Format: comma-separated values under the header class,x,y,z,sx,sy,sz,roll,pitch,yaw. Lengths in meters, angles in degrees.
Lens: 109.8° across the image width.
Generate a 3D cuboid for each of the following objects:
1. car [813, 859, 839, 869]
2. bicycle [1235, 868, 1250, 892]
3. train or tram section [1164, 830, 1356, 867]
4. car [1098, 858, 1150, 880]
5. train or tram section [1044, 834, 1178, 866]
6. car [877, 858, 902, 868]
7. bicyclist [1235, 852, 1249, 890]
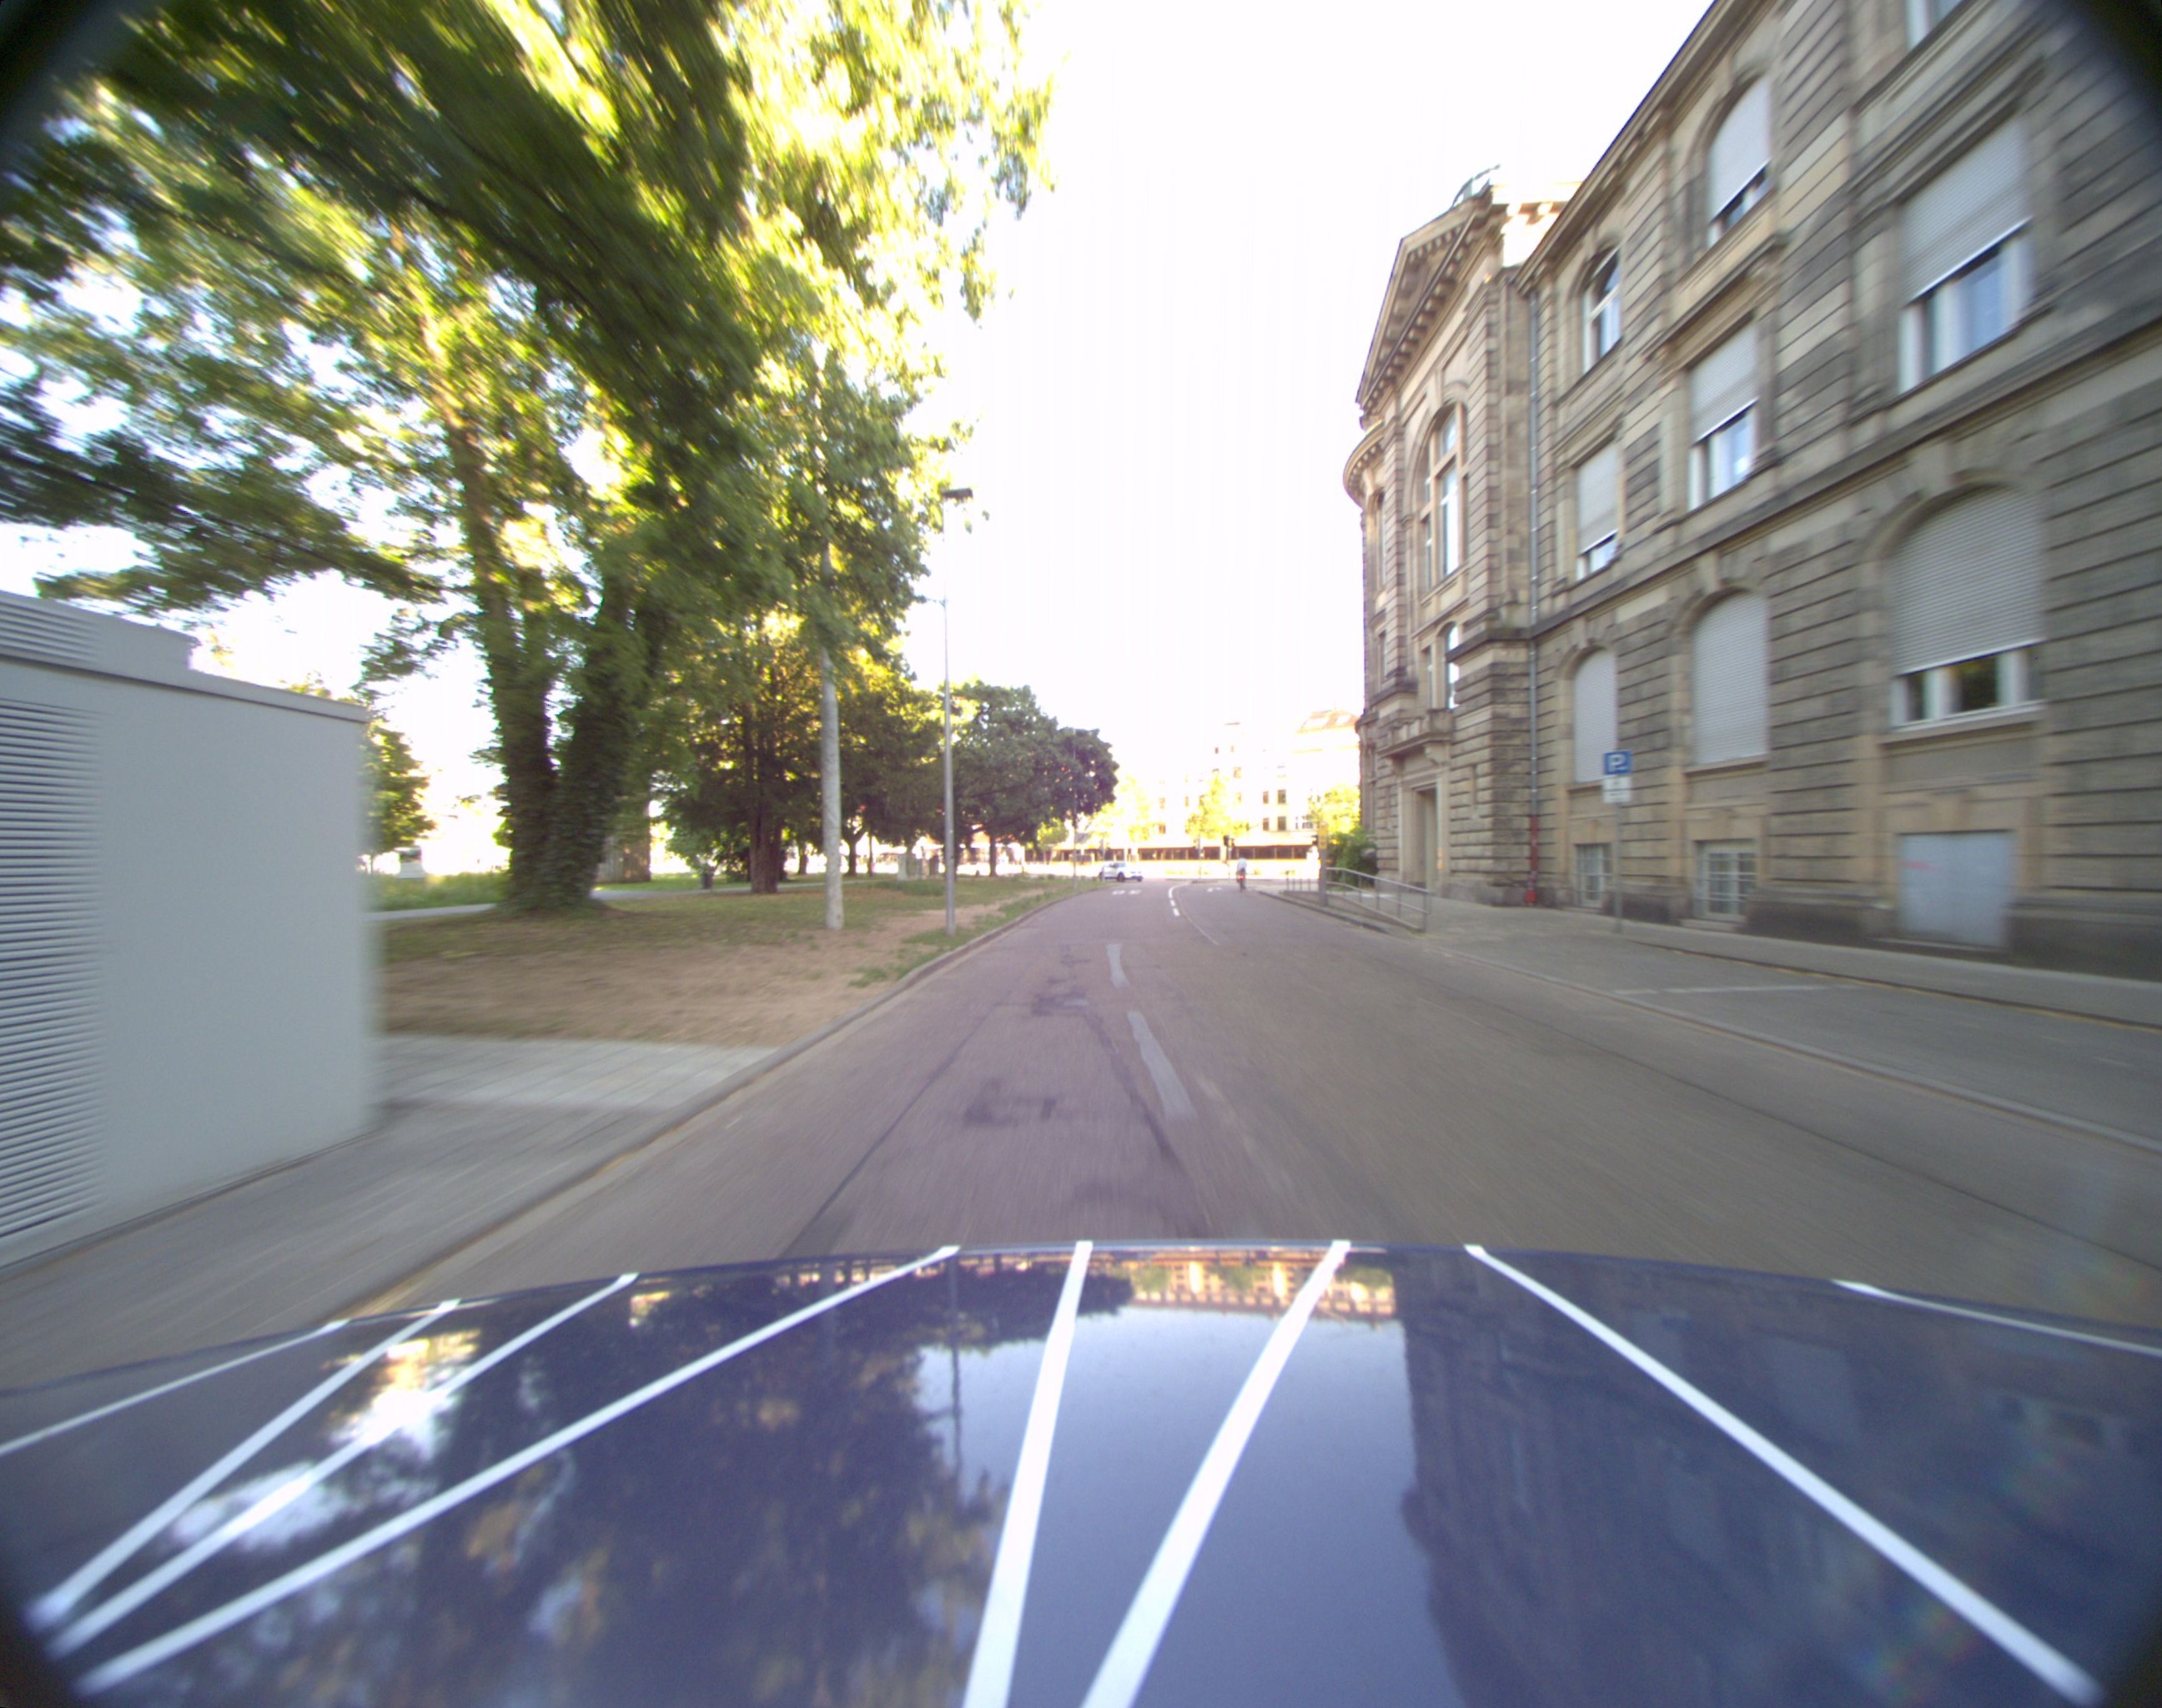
class,x,y,z,sx,sy,sz,roll,pitch,yaw
car,-44.365,1.768,132.157,4.880,1.786,2.004,-1,0,40
bicycle,7.658,1.231,36.083,0.663,1.064,2.155,0,0,12
train or tram section,17.922,-0.463,78.620,19.874,3.538,3.129,0,0,38
car,3.138,1.100,56.531,1.837,1.528,4.269,-2,0,-29
train or tram section,3.186,-0.360,90.098,17.426,3.538,3.129,0,0,38
car,-34.847,1.707,138.454,4.728,1.786,2.004,-1,0,40
bicyclist,7.671,0.799,36.136,0.646,1.796,0.781,0,0,12
